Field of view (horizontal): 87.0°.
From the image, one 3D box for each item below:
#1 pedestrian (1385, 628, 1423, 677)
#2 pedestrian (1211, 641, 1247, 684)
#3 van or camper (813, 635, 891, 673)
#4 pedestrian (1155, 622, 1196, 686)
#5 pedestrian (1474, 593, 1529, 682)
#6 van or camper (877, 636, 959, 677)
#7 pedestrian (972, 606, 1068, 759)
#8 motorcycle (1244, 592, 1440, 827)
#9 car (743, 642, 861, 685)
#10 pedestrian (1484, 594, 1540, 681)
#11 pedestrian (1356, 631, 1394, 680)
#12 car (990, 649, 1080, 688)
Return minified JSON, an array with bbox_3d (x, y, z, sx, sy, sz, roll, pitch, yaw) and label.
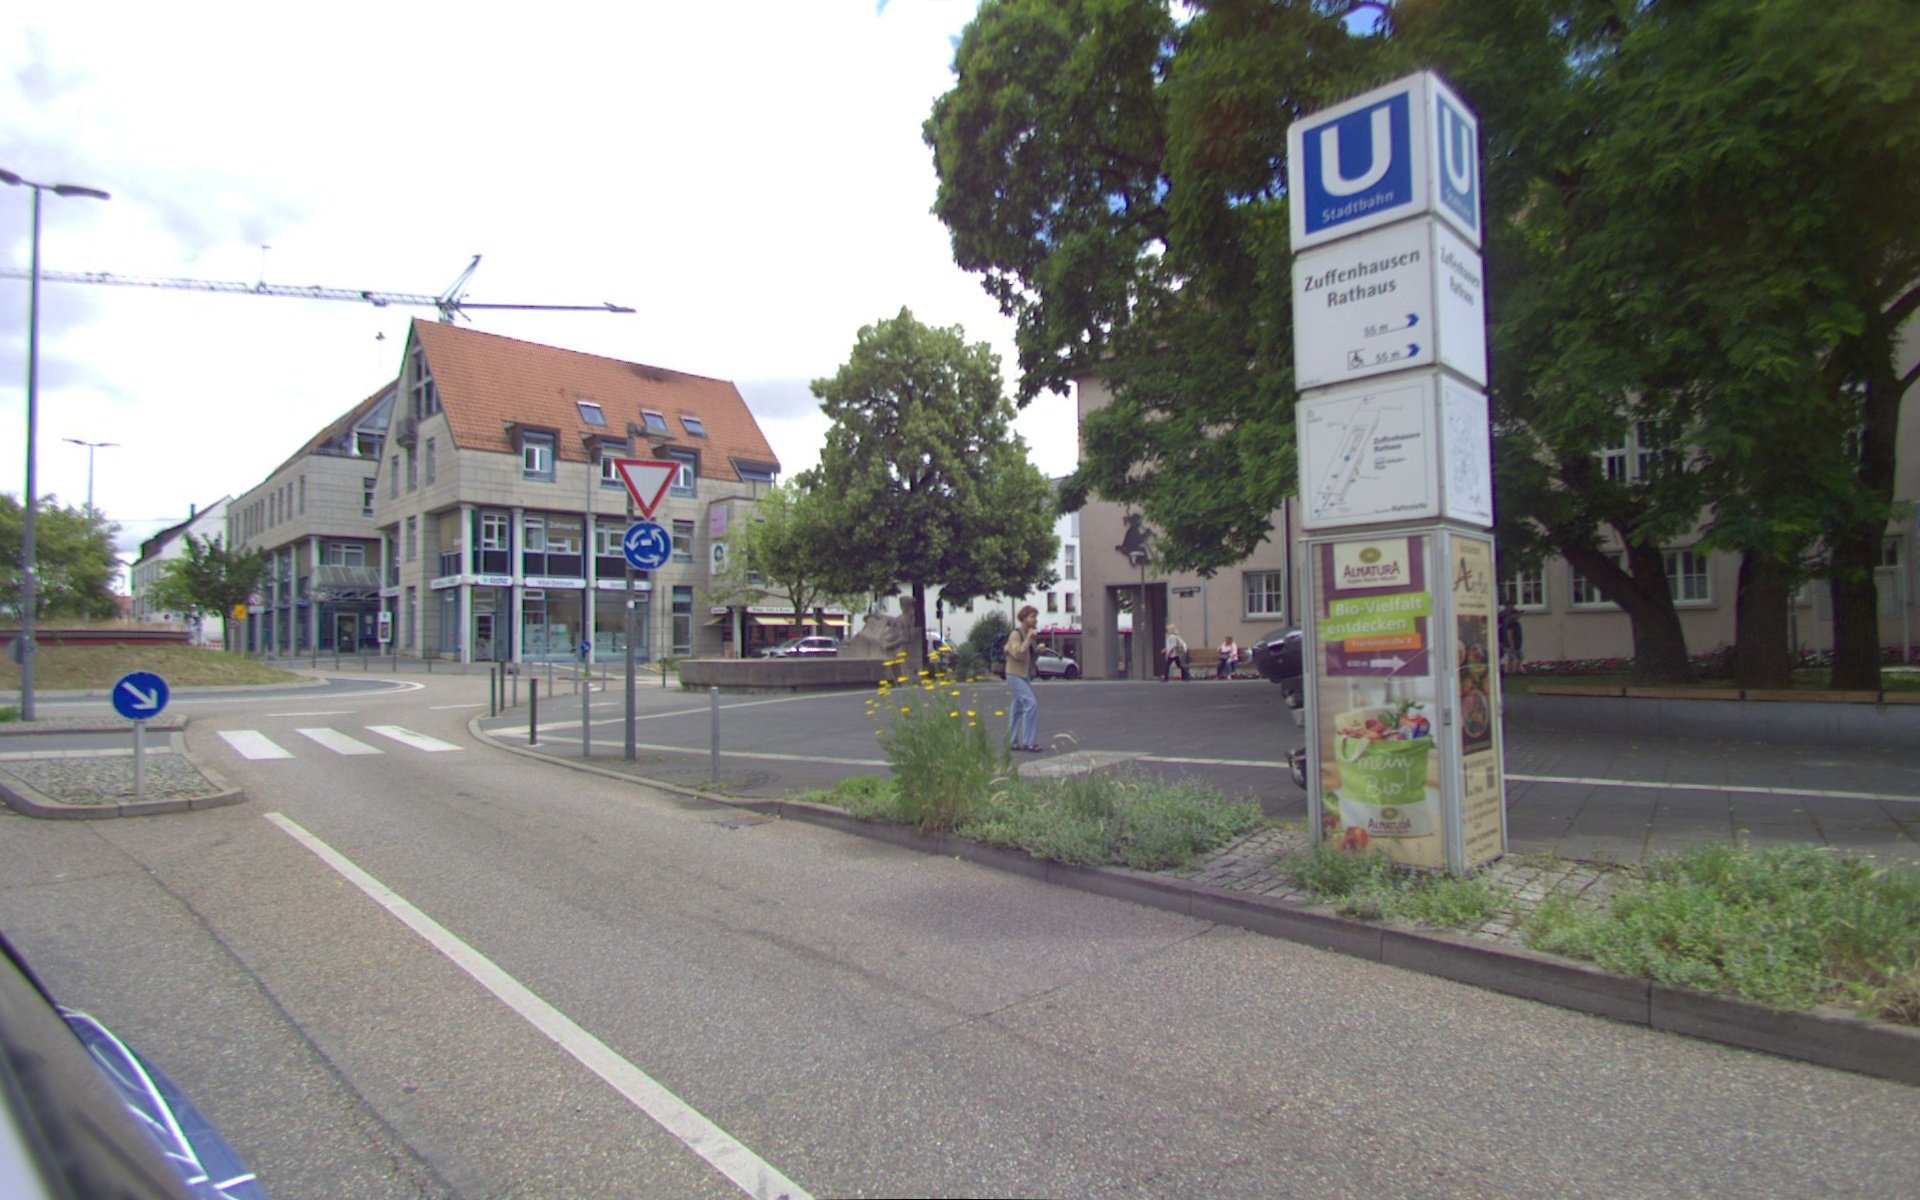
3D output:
[{"bbox_3d":[11.448,1.355,26.103,0.690,1.236,0.807,-4,-3,37],"label":"pedestrian"},{"bbox_3d":[7.709,1.782,29.008,0.690,1.184,0.807,-4,-3,37],"label":"pedestrian"},{"bbox_3d":[-7.015,3.518,65.859,4.636,2.401,1.988,-1,-2,18],"label":"van or camper"},{"bbox_3d":[5.827,1.460,27.376,0.816,1.688,0.682,-4,-3,38],"label":"pedestrian"},{"bbox_3d":[11.601,0.817,21.682,0.829,1.864,0.653,-4,-4,42],"label":"pedestrian"},{"bbox_3d":[-2.547,3.426,61.443,4.636,2.401,1.988,-1,-2,18],"label":"van or camper"},{"bbox_3d":[0.671,0.906,11.367,0.652,1.641,0.801,1,-4,-41],"label":"pedestrian"},{"bbox_3d":[2.835,0.723,7.347,0.648,1.461,2.166,-1,-3,40],"label":"motorcycle"},{"bbox_3d":[-6.871,2.748,44.278,4.811,1.666,1.751,0,-1,-35],"label":"car"},{"bbox_3d":[12.091,0.825,22.168,0.878,1.864,0.653,-4,-4,42],"label":"pedestrian"},{"bbox_3d":[10.883,1.452,26.560,0.690,1.236,0.807,-4,-3,37],"label":"pedestrian"},{"bbox_3d":[3.426,3.079,45.937,4.012,1.551,1.749,0,-1,-41],"label":"car"}]
